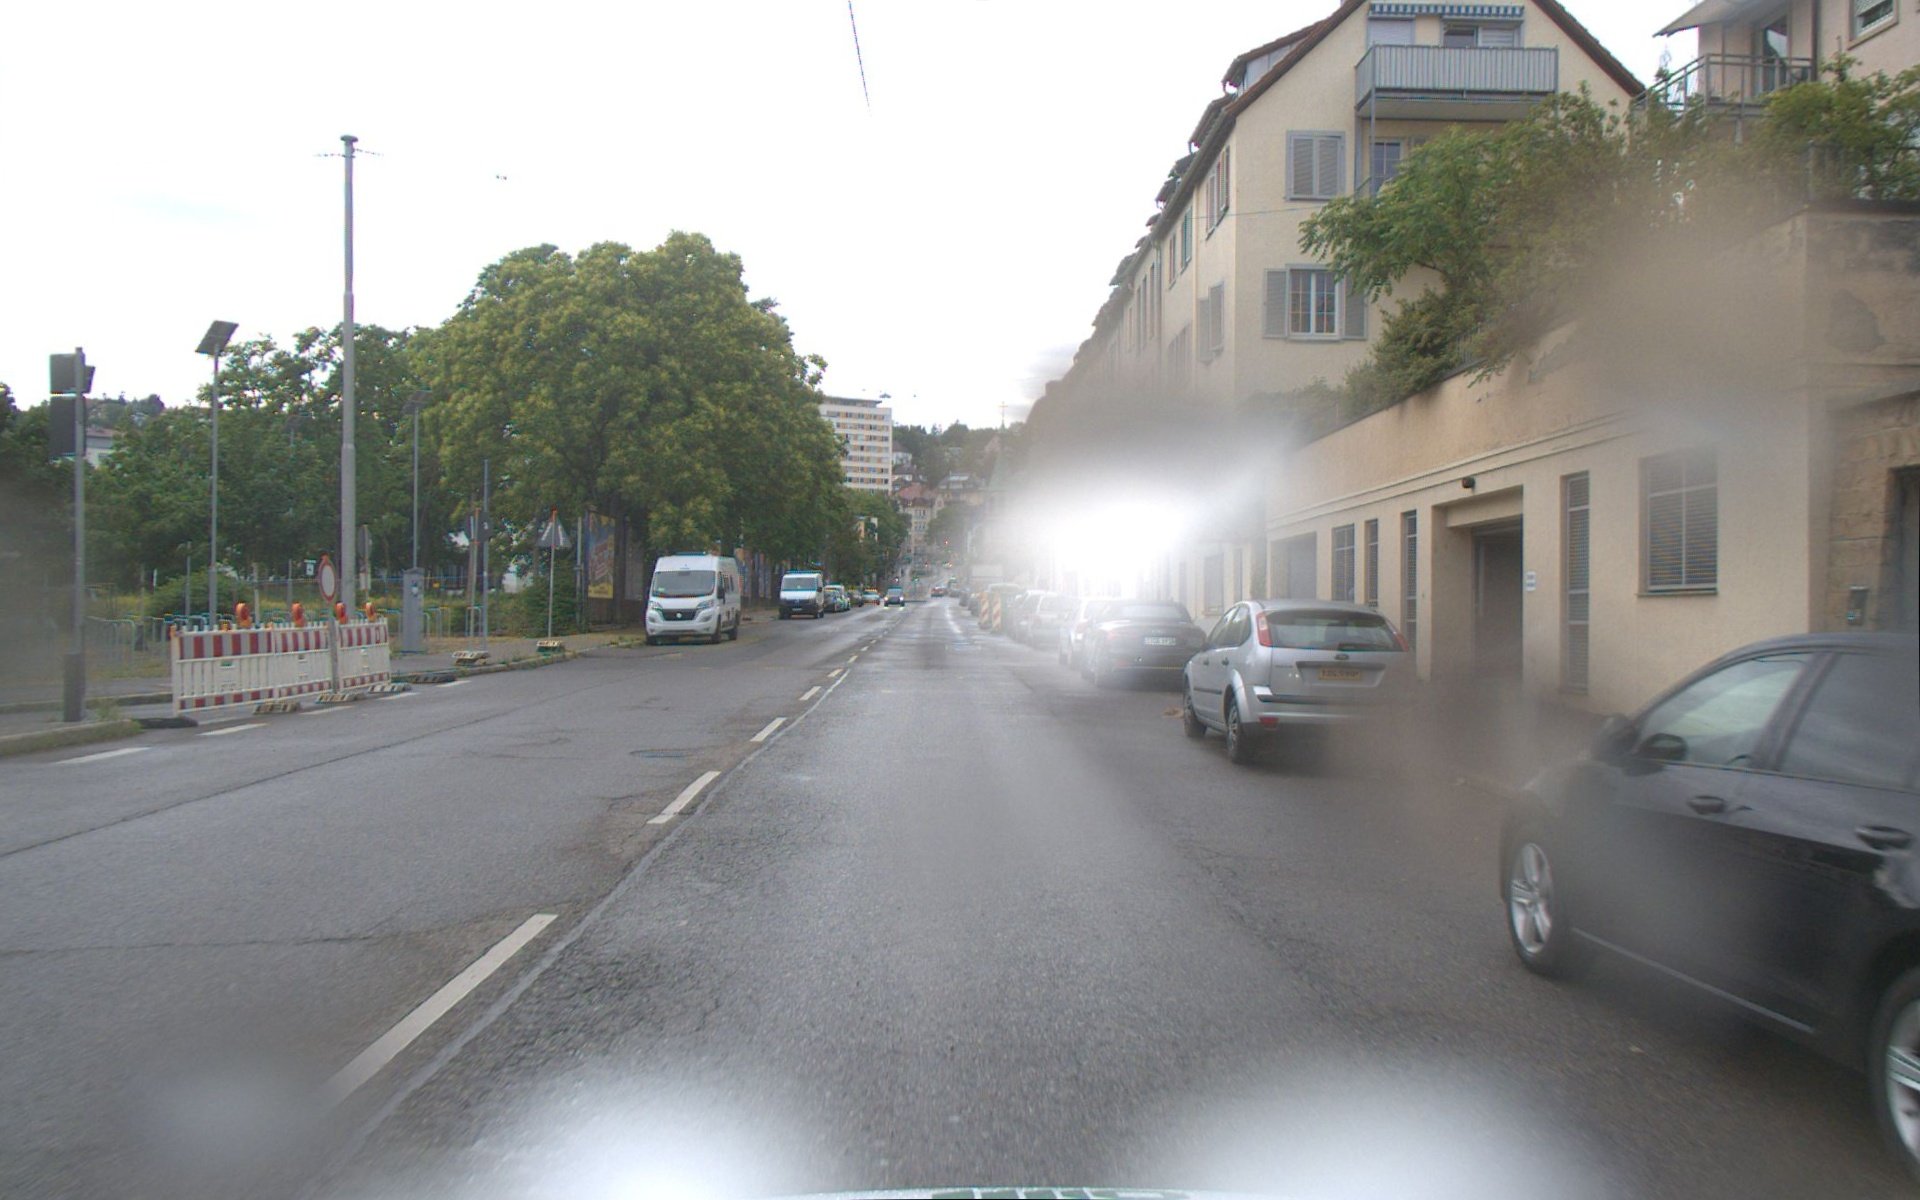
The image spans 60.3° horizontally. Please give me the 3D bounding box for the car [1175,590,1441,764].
[{"bbox_3d":[3.328,0.688,16.603,1.654,1.479,4.233,2,0,-2],"label":"car"}]

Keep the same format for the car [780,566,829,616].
[{"bbox_3d":[-8.141,-0.499,86.995,1.971,2.530,5.983,-1,1,0],"label":"car"}]

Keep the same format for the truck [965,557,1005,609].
[{"bbox_3d":[1.572,-1.080,107.247,2.419,3.227,7.035,0,0,0],"label":"truck"}]

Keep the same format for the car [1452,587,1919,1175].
[{"bbox_3d":[3.281,0.738,5.911,1.654,1.479,4.234,2,1,-2],"label":"car"}]

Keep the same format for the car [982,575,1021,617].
[{"bbox_3d":[1.989,-0.213,81.170,1.780,1.957,4.238,-1,1,0],"label":"car"}]

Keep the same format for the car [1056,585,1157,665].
[{"bbox_3d":[2.939,0.469,33.840,1.596,1.479,3.758,2,1,-2],"label":"car"}]

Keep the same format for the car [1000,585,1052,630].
[{"bbox_3d":[2.269,0.238,57.565,1.593,1.435,3.842,2,1,-1],"label":"car"}]

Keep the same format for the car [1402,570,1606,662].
[{"bbox_3d":[9.087,0.243,27.994,1.849,1.425,4.200,1,0,-4],"label":"car"}]

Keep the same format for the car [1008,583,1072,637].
[{"bbox_3d":[2.458,0.284,51.850,1.681,1.551,3.999,2,1,-2],"label":"car"}]

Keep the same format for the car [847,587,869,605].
[{"bbox_3d":[-8.825,-0.321,143.281,1.767,1.476,4.655,-1,0,-3],"label":"car"}]

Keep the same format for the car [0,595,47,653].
[{"bbox_3d":[-32.247,0.803,53.176,1.963,1.866,4.667,0,1,40],"label":"car"}]

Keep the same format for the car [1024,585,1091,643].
[{"bbox_3d":[2.709,0.356,46.421,1.527,1.479,3.758,2,1,-2],"label":"car"}]

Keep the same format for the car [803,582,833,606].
[{"bbox_3d":[-8.780,-0.387,102.404,1.648,1.423,3.909,-1,0,-2],"label":"car"}]

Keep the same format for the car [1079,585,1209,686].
[{"bbox_3d":[2.965,0.521,27.266,1.596,1.479,3.758,2,1,-2],"label":"car"}]

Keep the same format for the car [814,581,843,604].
[{"bbox_3d":[-8.660,-0.466,109.219,1.648,1.488,4.275,-1,0,-2],"label":"car"}]

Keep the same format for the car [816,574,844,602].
[{"bbox_3d":[-9.043,-0.825,115.567,1.689,1.831,4.343,-1,0,-2],"label":"car"}]

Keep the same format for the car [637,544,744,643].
[{"bbox_3d":[-7.758,-0.220,48.281,2.185,2.624,6.535,-2,1,-2],"label":"car"}]

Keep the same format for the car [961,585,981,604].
[{"bbox_3d":[1.009,-0.547,153.089,1.781,1.681,4.075,2,0,-1],"label":"car"}]

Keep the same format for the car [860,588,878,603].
[{"bbox_3d":[-8.718,-0.412,158.488,1.675,1.476,4.293,-1,0,-2],"label":"car"}]

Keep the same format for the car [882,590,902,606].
[{"bbox_3d":[-5.960,-0.176,145.539,1.769,1.440,4.382,0,0,-2],"label":"car"}]
